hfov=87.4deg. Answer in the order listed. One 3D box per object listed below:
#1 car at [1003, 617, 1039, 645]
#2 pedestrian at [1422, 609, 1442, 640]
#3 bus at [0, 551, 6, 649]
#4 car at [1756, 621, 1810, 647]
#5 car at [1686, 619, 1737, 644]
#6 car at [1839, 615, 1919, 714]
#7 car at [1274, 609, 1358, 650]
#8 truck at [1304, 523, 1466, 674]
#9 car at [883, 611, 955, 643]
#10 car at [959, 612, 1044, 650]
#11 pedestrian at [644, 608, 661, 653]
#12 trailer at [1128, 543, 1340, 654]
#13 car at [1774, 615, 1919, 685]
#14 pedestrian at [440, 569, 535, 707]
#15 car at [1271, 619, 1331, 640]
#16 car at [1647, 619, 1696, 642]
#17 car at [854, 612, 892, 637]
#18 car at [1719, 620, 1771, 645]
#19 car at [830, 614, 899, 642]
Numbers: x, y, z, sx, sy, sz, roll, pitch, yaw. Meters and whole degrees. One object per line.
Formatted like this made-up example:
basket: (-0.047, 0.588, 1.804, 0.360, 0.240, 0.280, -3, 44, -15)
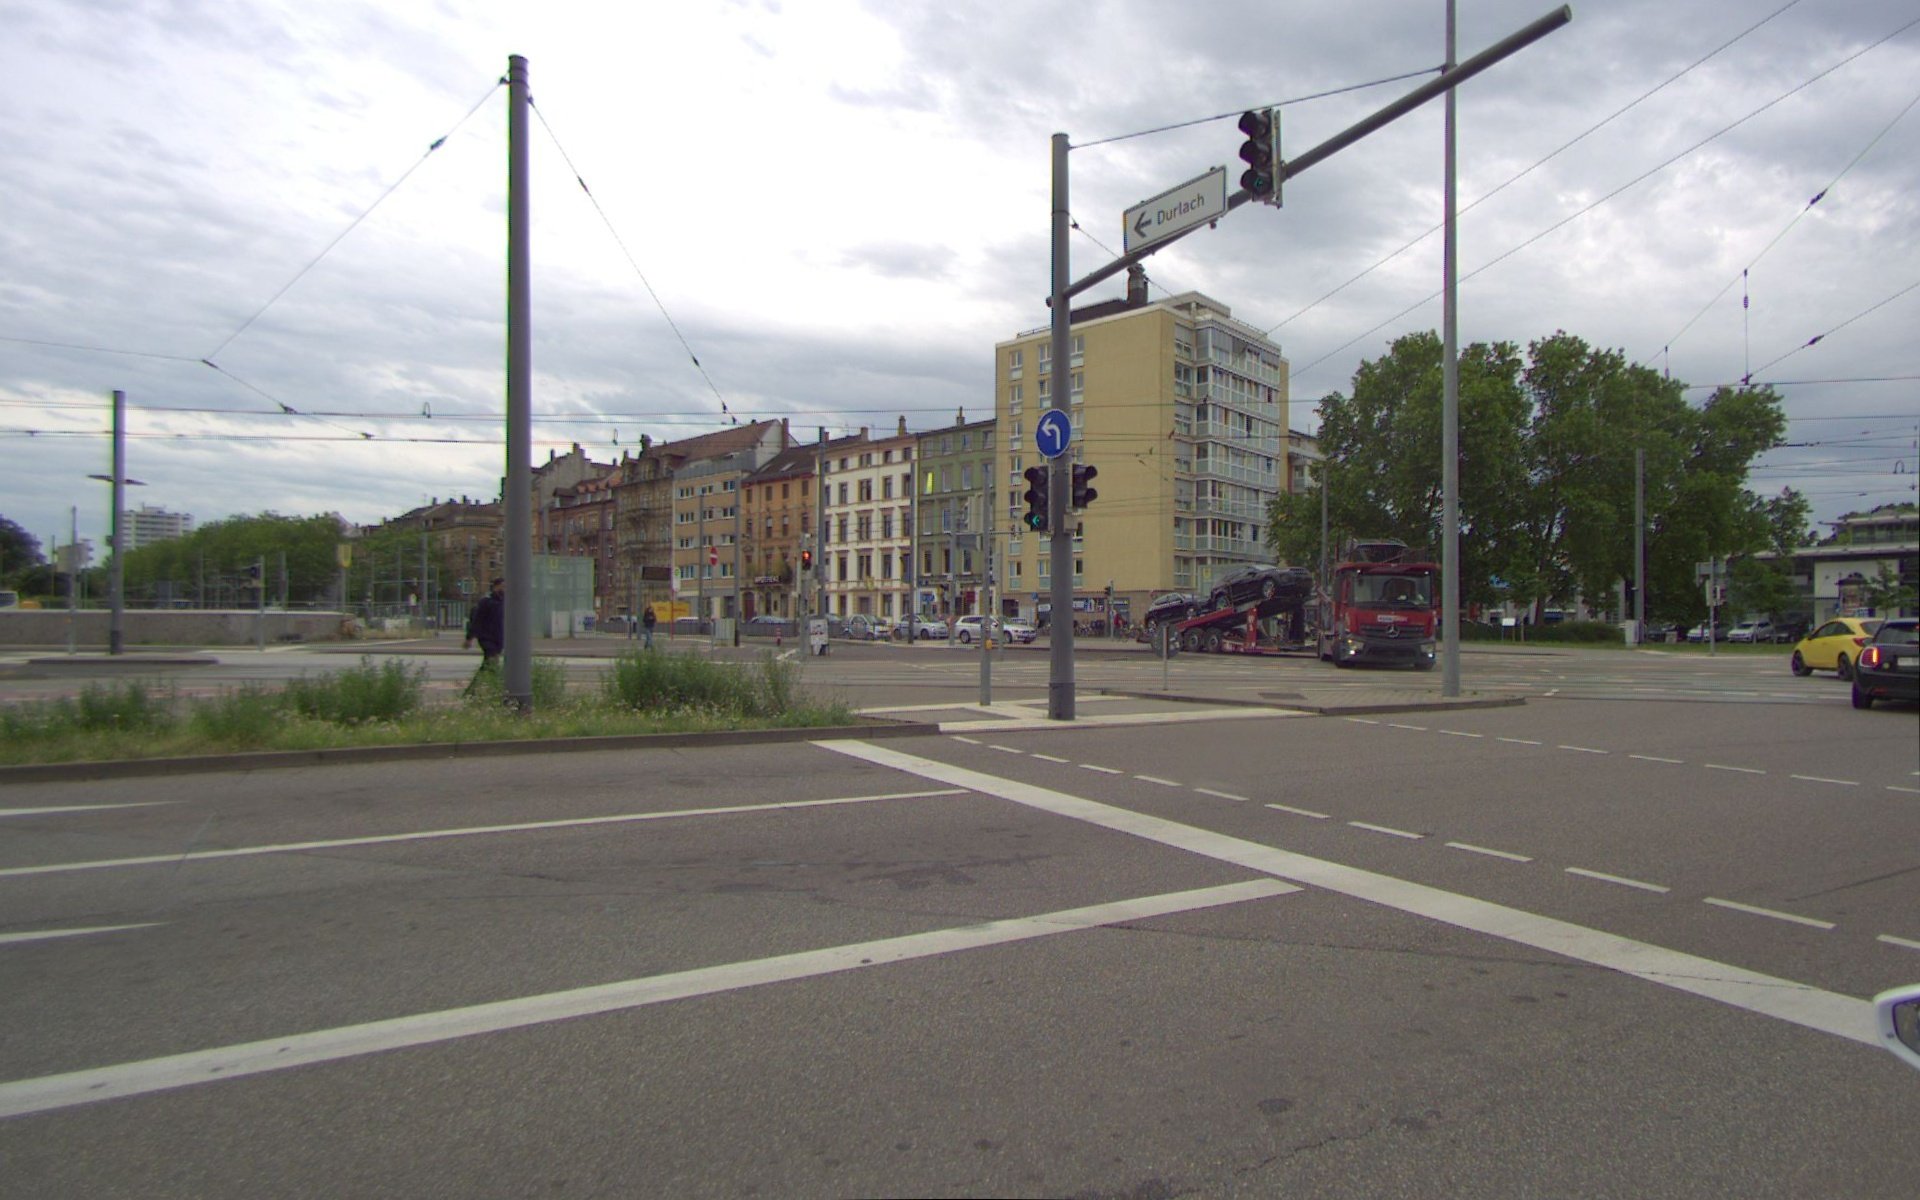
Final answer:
car: (4.117, 2.060, 67.558, 2.039, 1.779, 4.002, 1, 0, 9)
pedestrian: (26.519, 1.362, 56.459, 0.899, 1.742, 0.705, 1, 0, 31)
bus: (-36.596, -0.125, 30.808, 11.784, 3.118, 2.864, 1, 0, -1)
car: (67.984, 2.777, 82.989, 3.947, 2.040, 1.987, 1, 0, -26)
car: (65.771, 2.749, 87.862, 3.947, 2.040, 1.987, 1, 0, -26)
car: (15.900, 1.000, 16.392, 3.967, 1.488, 1.755, 1, -1, -40)
car: (19.433, 1.572, 54.811, 3.933, 2.040, 1.994, 1, 0, 34)
truck: (13.039, -0.036, 31.842, 2.954, 3.972, 10.462, 1, 0, 13)
car: (-2.436, 1.569, 59.522, 3.941, 1.751, 1.990, 1, 0, 41)
car: (2.079, 1.545, 50.915, 3.941, 1.751, 1.990, 1, 0, 41)
pedestrian: (-11.139, 1.111, 36.407, 0.475, 1.632, 0.422, 1, -1, -32)
trailer: (10.901, -0.067, 41.413, 2.956, 4.026, 9.492, 1, 0, -25)
car: (22.096, 1.179, 25.089, 1.789, 1.514, 3.996, 1, 0, 25)
pedestrian: (-6.944, 0.545, 14.797, 0.962, 1.969, 0.782, 0, -1, 8)
car: (25.801, 2.212, 76.044, 3.940, 1.572, 1.991, -1, -1, 40)
car: (64.092, 2.739, 90.488, 3.947, 2.040, 1.987, 1, 0, -26)
car: (-6.672, 1.848, 77.469, 2.039, 1.779, 4.002, 1, 0, 9)
car: (66.949, 2.761, 85.644, 3.947, 2.040, 1.987, 1, 0, -26)
car: (-5.456, 1.602, 57.460, 3.566, 1.513, 1.991, 0, -1, 40)
